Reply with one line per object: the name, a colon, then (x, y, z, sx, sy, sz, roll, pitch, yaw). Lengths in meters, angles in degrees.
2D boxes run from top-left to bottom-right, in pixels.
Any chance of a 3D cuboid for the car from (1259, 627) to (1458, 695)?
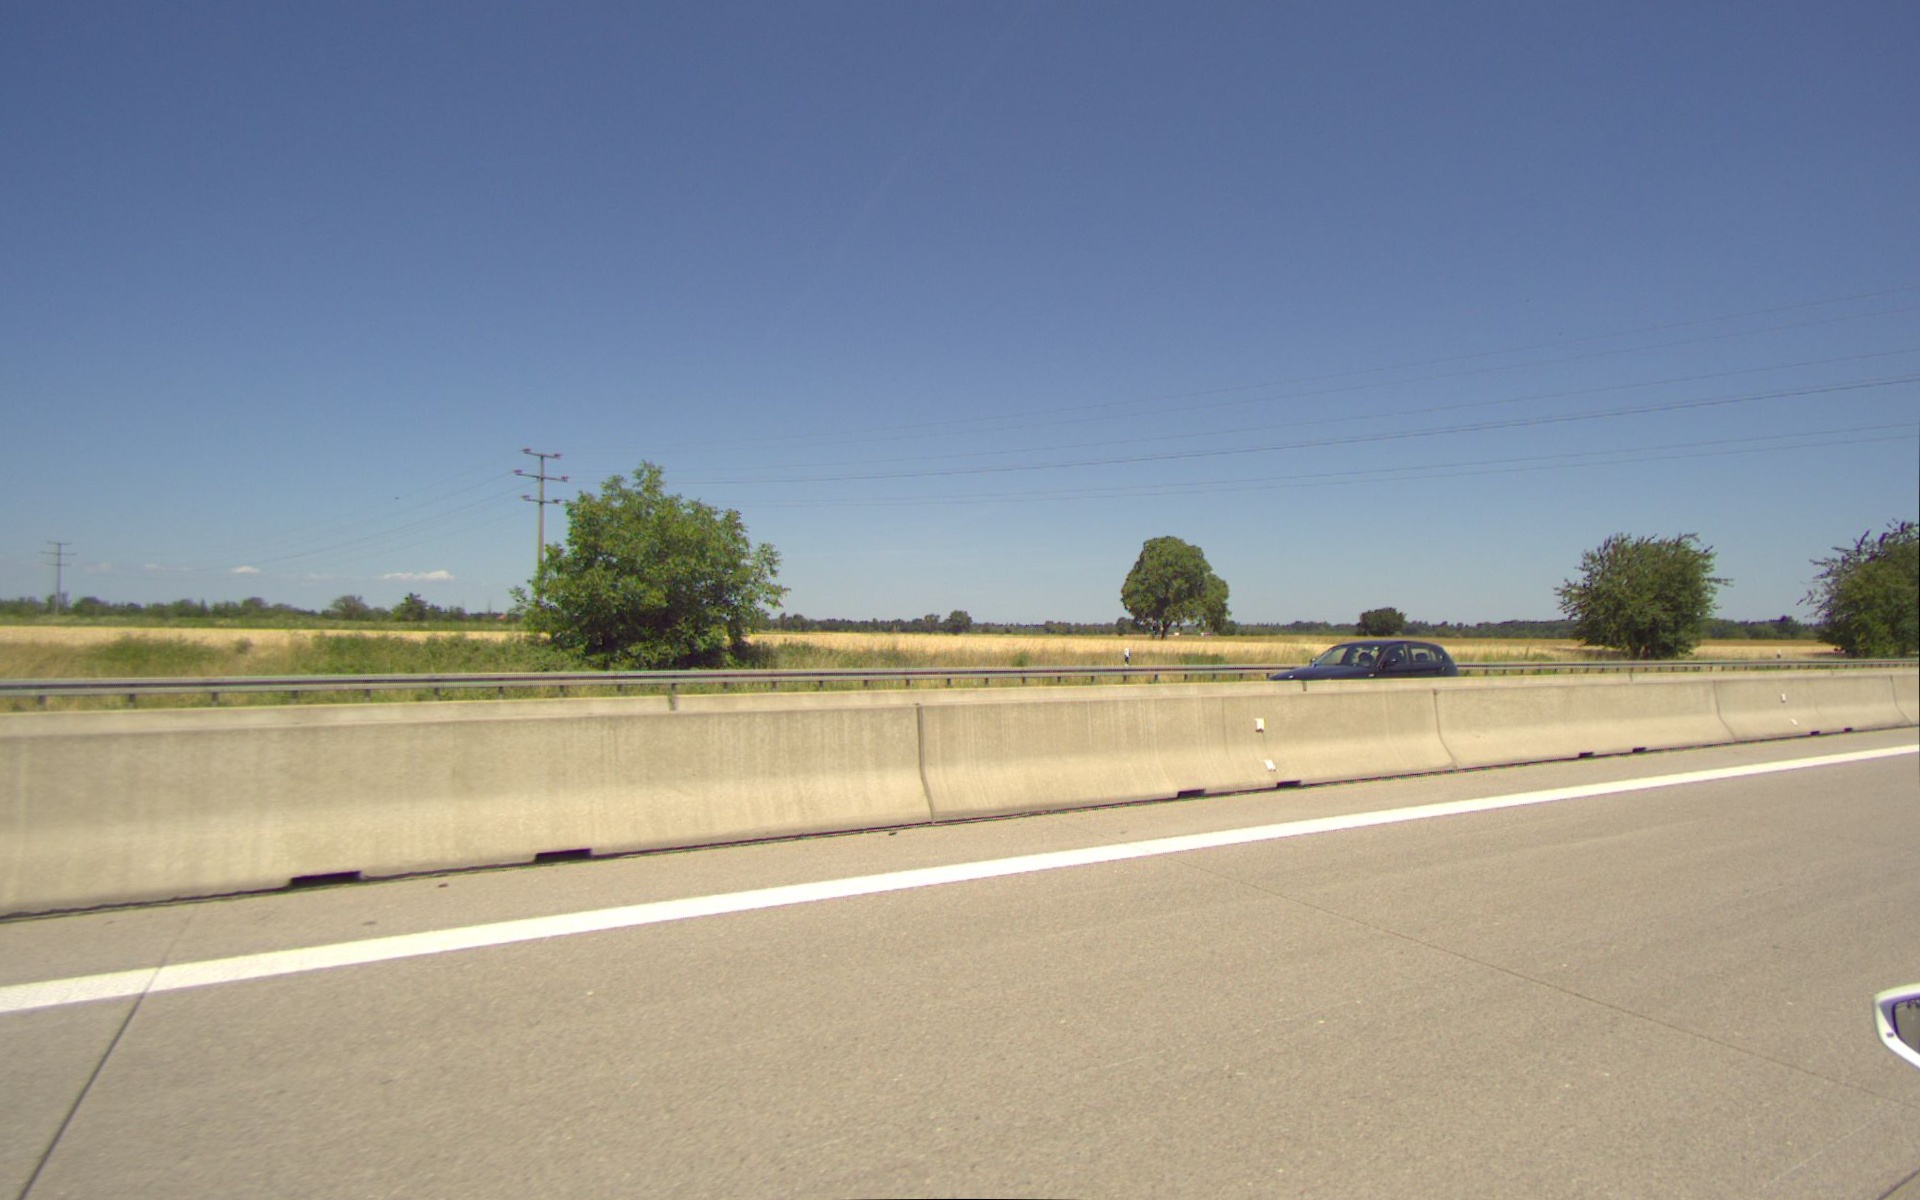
car: (7.253, 1.067, 18.235, 3.480, 1.067, 1.515, 1, 0, -29)
